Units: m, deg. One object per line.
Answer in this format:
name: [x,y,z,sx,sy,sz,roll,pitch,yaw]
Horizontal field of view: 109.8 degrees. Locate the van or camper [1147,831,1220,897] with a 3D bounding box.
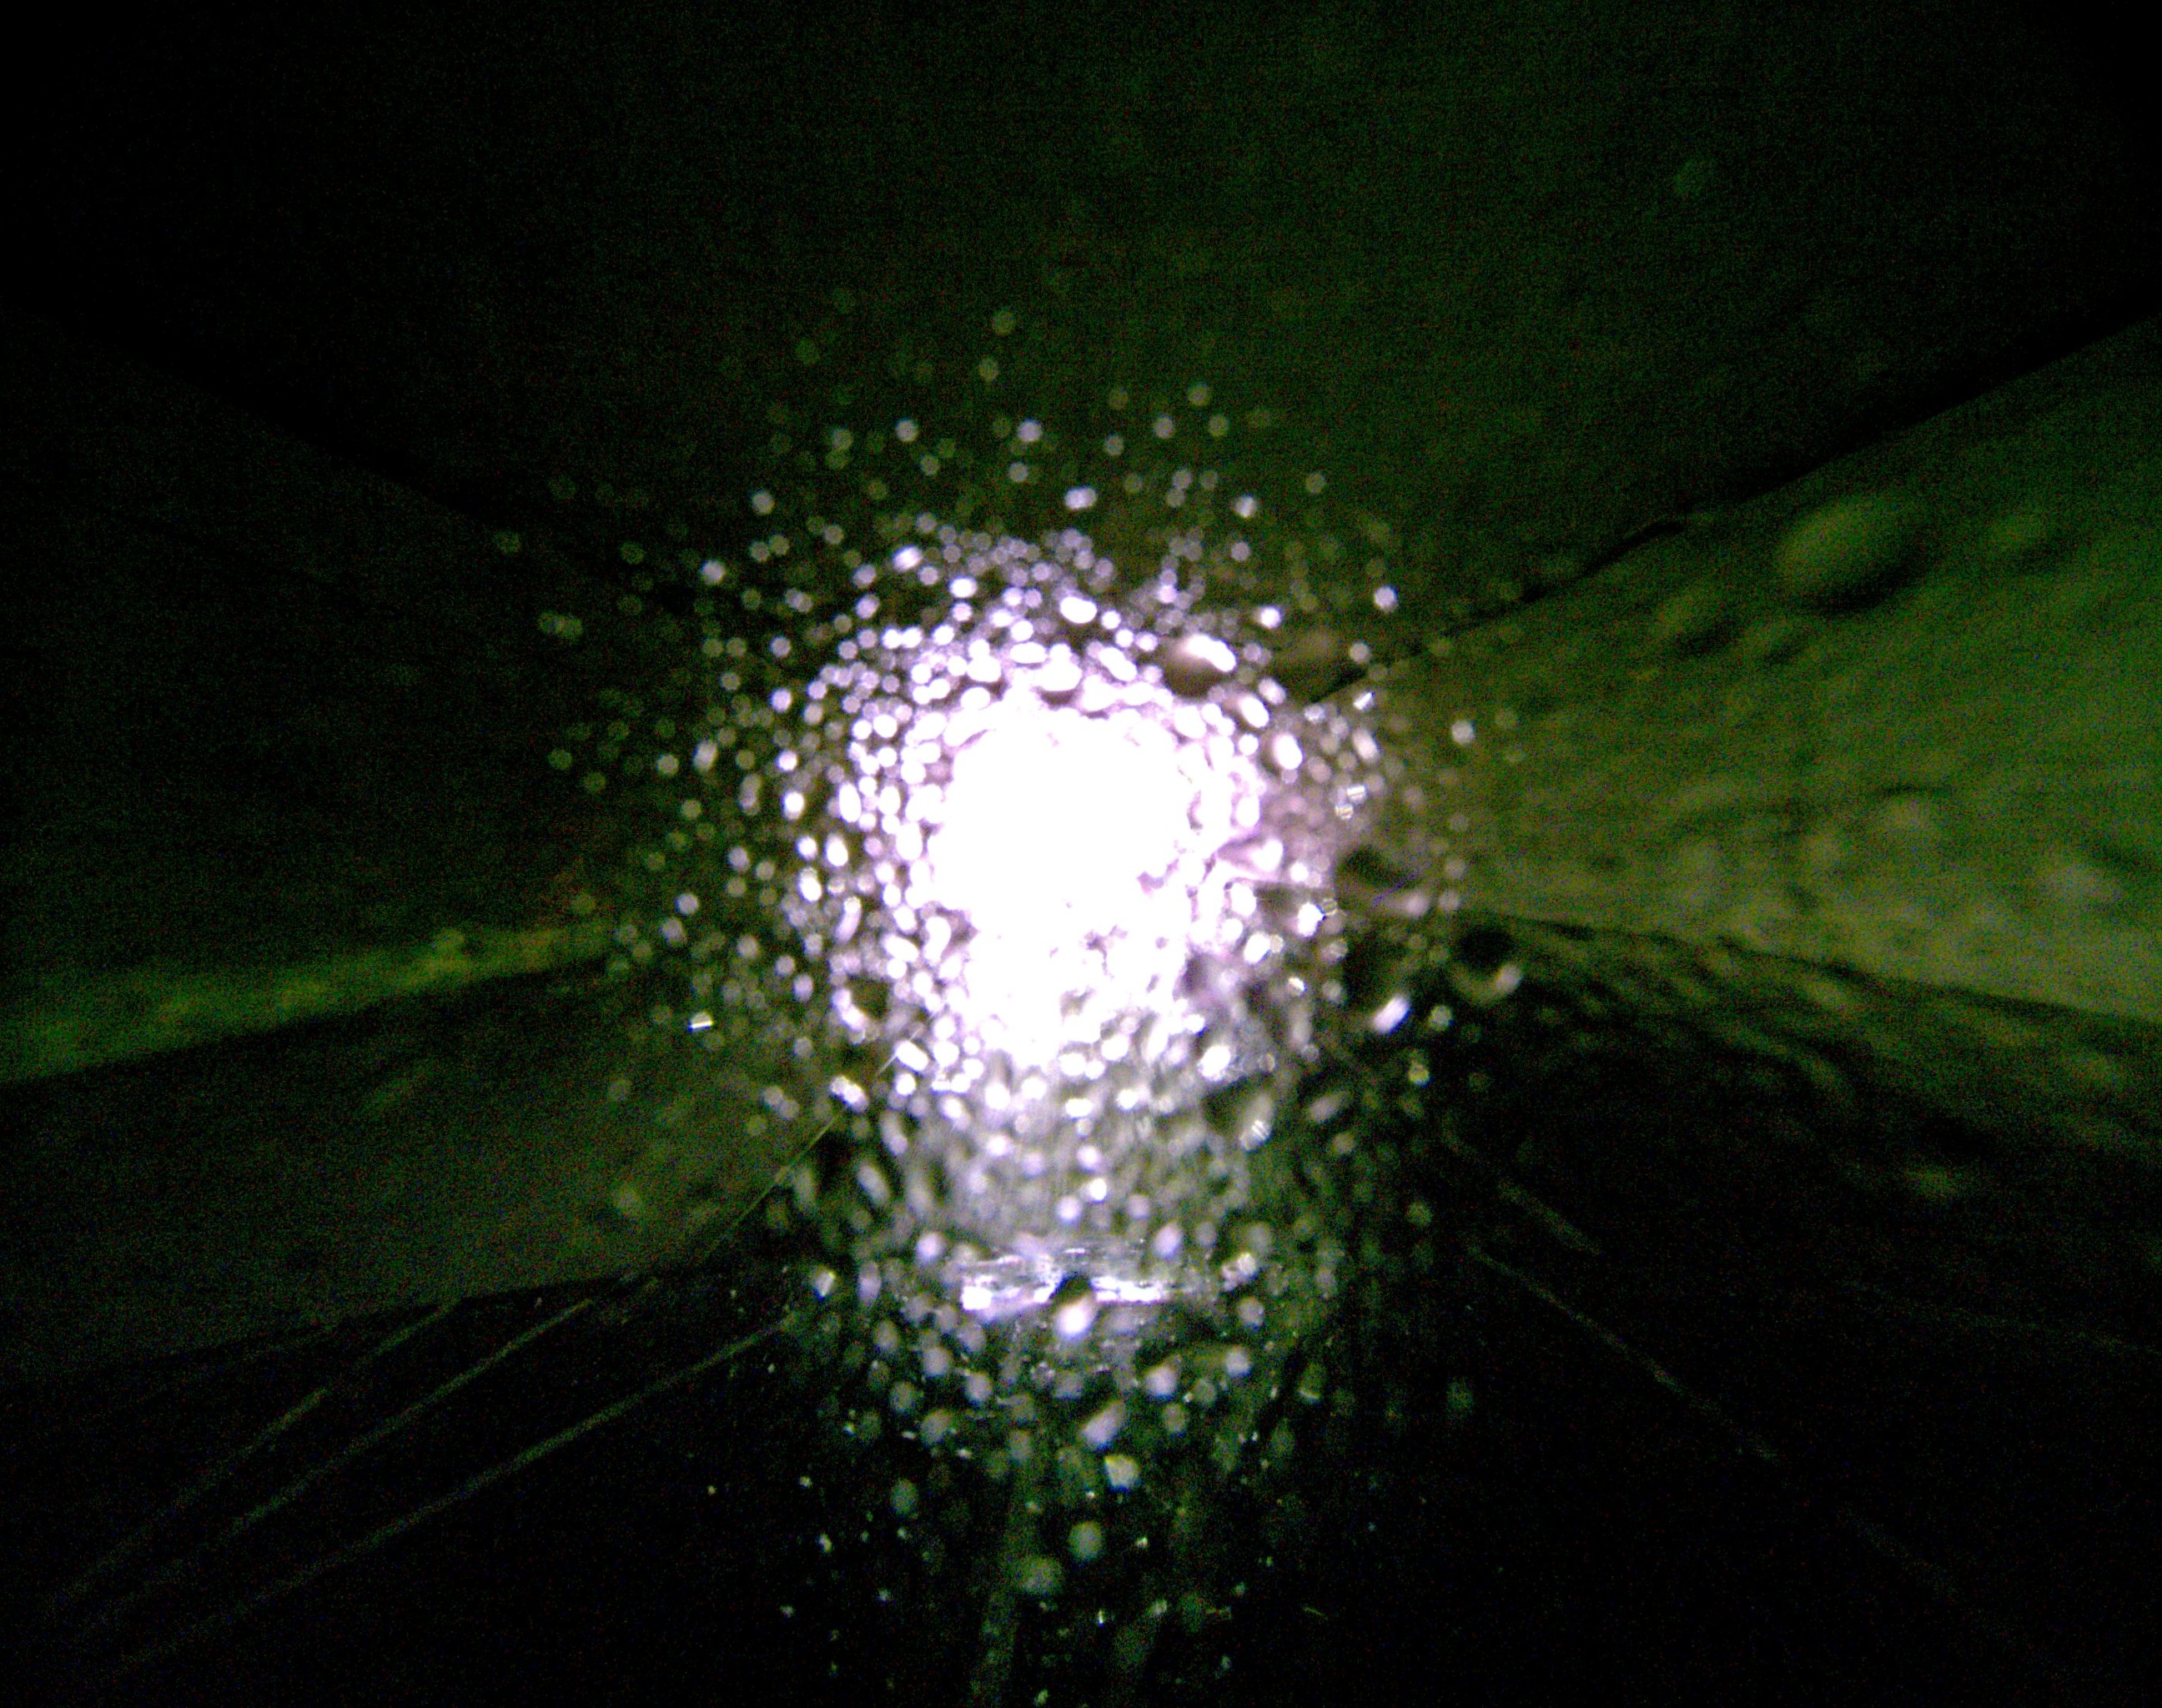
van or camper: [3.548,0.304,27.064,1.998,2.086,4.691,-2,1,1]

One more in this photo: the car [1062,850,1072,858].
car: [-2.747,-0.033,145.395,1.695,1.478,4.071,-1,1,-4]

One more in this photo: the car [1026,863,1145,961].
car: [-0.001,0.902,13.783,1.767,1.316,4.547,-2,1,-2]
